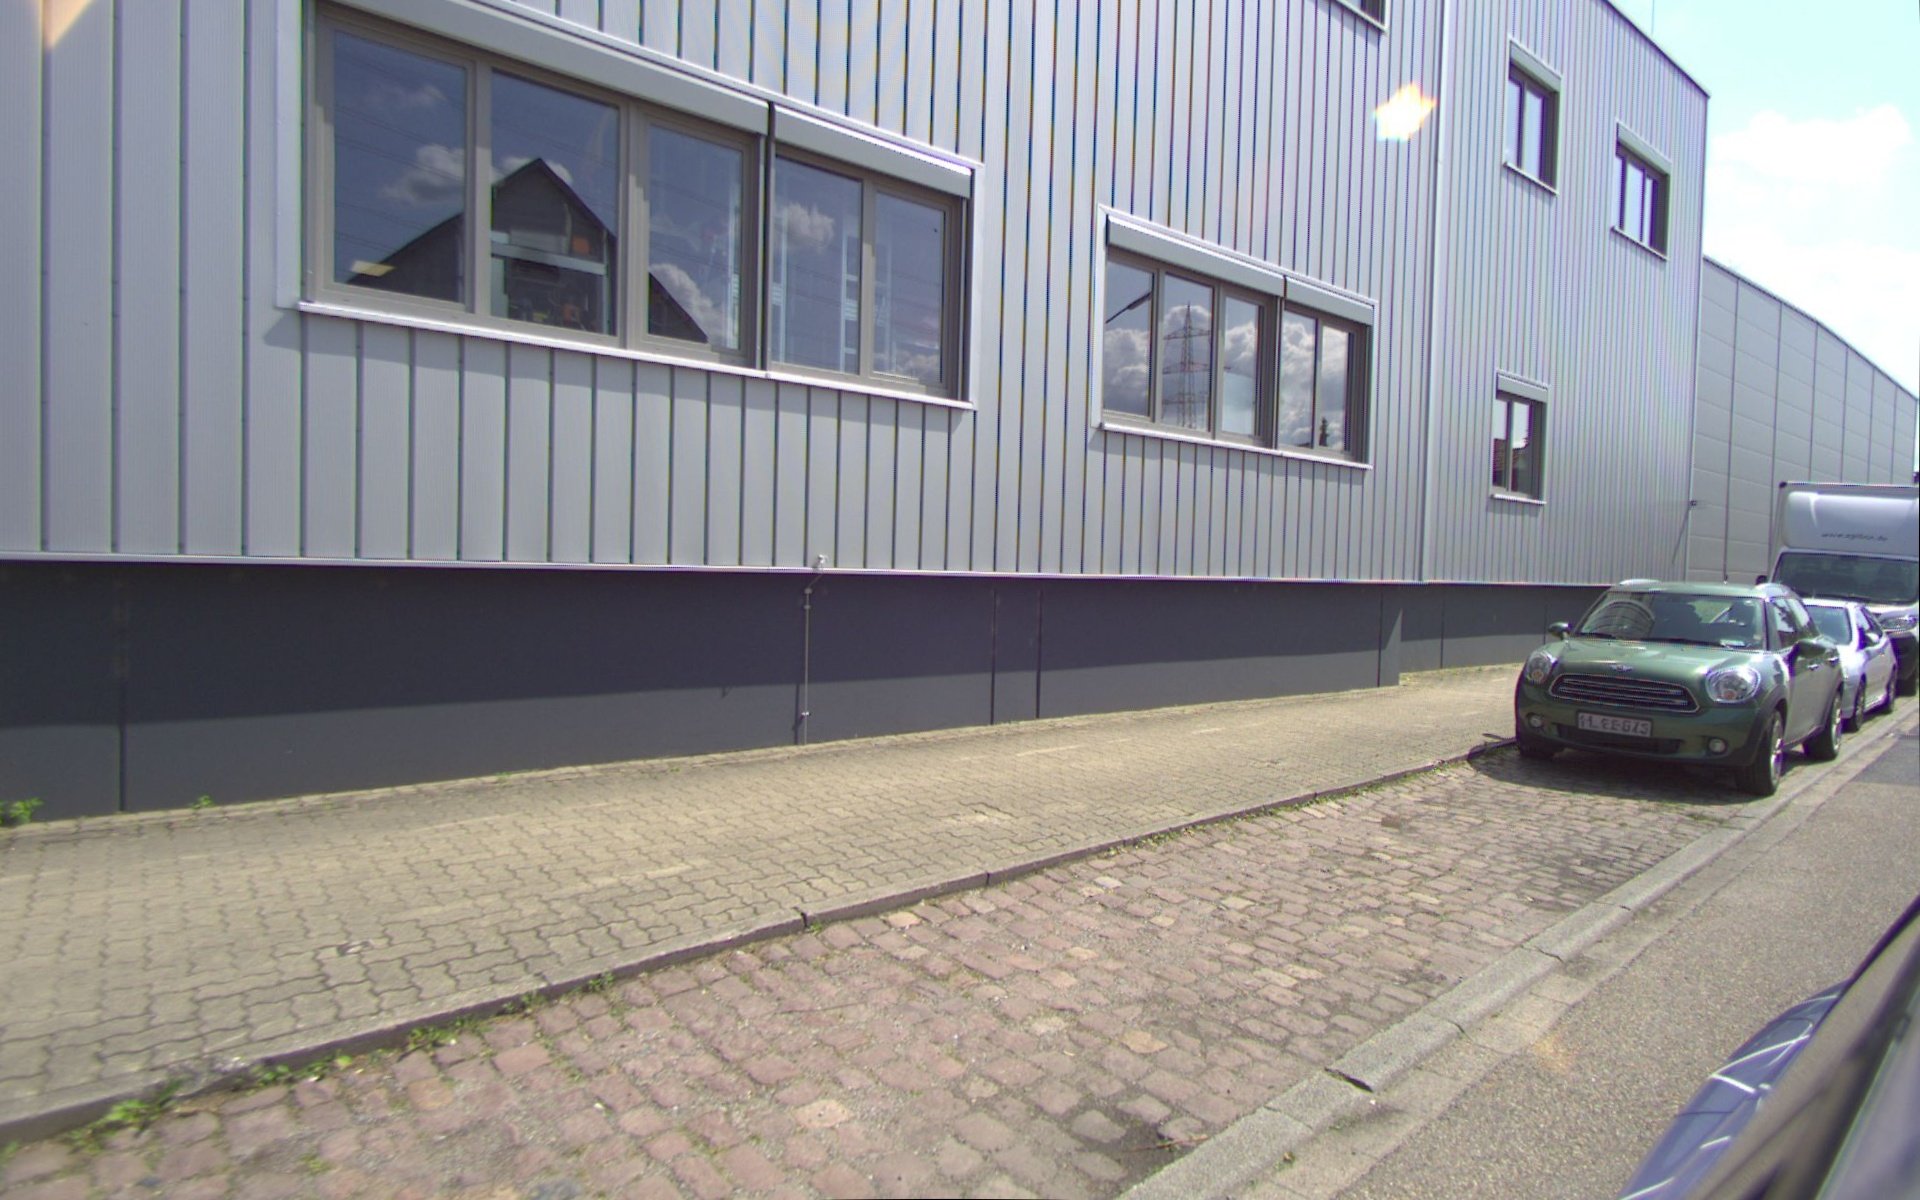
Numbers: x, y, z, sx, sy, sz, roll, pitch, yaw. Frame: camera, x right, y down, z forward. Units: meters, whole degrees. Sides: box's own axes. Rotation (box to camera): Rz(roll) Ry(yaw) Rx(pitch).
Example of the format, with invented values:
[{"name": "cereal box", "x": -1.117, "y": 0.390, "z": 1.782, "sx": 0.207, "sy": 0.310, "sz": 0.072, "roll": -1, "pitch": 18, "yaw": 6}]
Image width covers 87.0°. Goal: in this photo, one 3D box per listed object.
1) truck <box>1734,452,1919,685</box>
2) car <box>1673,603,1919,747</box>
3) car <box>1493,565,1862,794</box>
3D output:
[{"name": "truck", "x": 15.767, "y": -0.468, "z": 17.532, "sx": 7.944, "sy": 3.266, "sz": 2.602, "roll": 0, "pitch": 0, "yaw": -44}, {"name": "car", "x": 10.456, "y": 0.788, "z": 12.542, "sx": 4.183, "sy": 1.451, "sz": 1.713, "roll": 0, "pitch": 0, "yaw": -41}, {"name": "car", "x": 6.320, "y": 0.516, "z": 8.743, "sx": 4.043, "sy": 1.530, "sz": 1.713, "roll": 0, "pitch": 0, "yaw": -41}]
